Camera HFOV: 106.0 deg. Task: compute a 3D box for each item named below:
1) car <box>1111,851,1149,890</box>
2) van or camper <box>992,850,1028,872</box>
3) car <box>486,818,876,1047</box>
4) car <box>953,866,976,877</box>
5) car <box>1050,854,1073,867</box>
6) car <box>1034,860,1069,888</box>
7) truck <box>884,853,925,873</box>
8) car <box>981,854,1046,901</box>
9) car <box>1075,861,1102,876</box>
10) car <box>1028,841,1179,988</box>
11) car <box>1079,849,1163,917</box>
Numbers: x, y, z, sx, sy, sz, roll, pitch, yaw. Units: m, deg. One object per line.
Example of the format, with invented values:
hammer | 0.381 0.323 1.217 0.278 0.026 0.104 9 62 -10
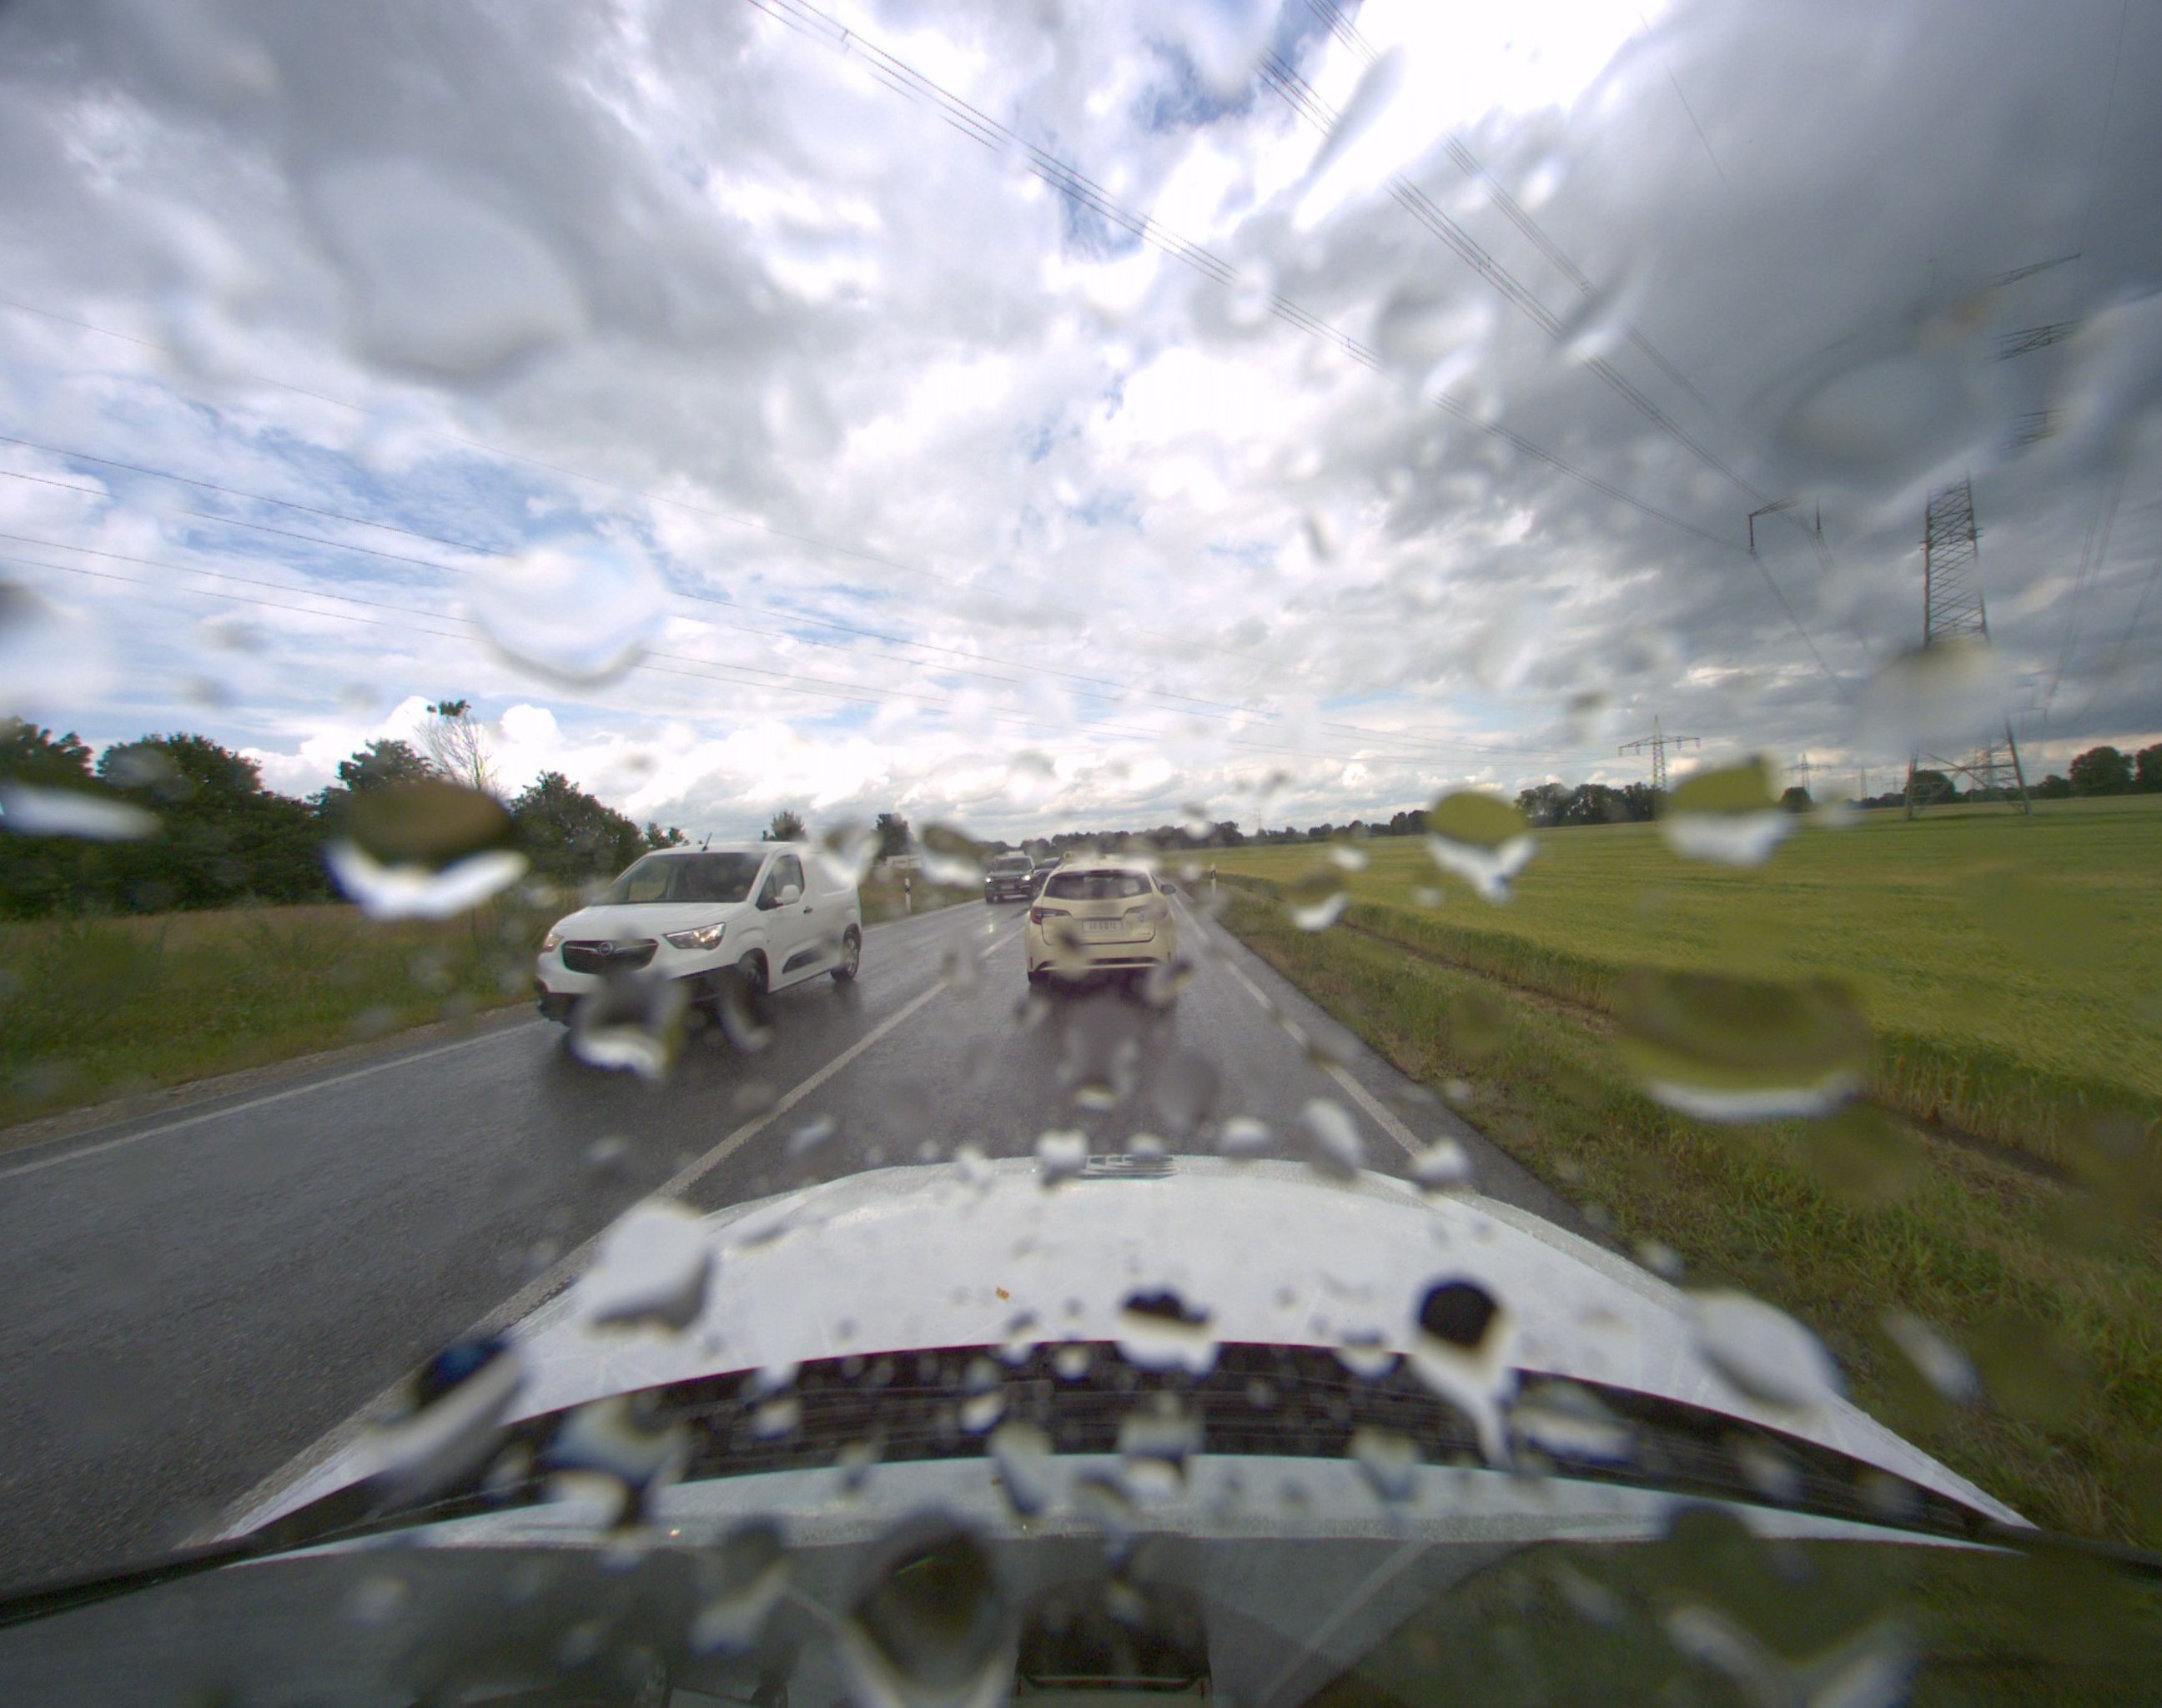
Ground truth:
car | 2.163 0.746 36.927 1.607 1.659 3.739 0 -2 1
van or camper | -9.559 0.935 108.668 2.550 2.896 6.685 0 -1 -26
car | -3.886 0.681 8.967 1.836 1.855 4.451 -1 -1 4
car | -16.248 2.467 113.119 1.769 1.559 3.960 1 -2 -31
car | -2.296 0.789 92.727 1.787 1.413 3.718 0 -2 -15
car | -1.669 1.127 46.685 1.844 1.448 4.088 -3 0 -1
truck | -30.007 1.504 138.140 3.040 3.210 8.131 1 -2 -44
car | -2.553 0.868 31.857 1.841 1.631 4.539 -2 0 4
car | 0.674 1.383 76.115 1.958 1.413 4.381 0 -2 -7
car | 0.350 0.702 10.589 1.606 1.562 3.741 0 -2 3
car | 0.969 0.662 20.255 1.834 1.492 4.610 0 0 2
